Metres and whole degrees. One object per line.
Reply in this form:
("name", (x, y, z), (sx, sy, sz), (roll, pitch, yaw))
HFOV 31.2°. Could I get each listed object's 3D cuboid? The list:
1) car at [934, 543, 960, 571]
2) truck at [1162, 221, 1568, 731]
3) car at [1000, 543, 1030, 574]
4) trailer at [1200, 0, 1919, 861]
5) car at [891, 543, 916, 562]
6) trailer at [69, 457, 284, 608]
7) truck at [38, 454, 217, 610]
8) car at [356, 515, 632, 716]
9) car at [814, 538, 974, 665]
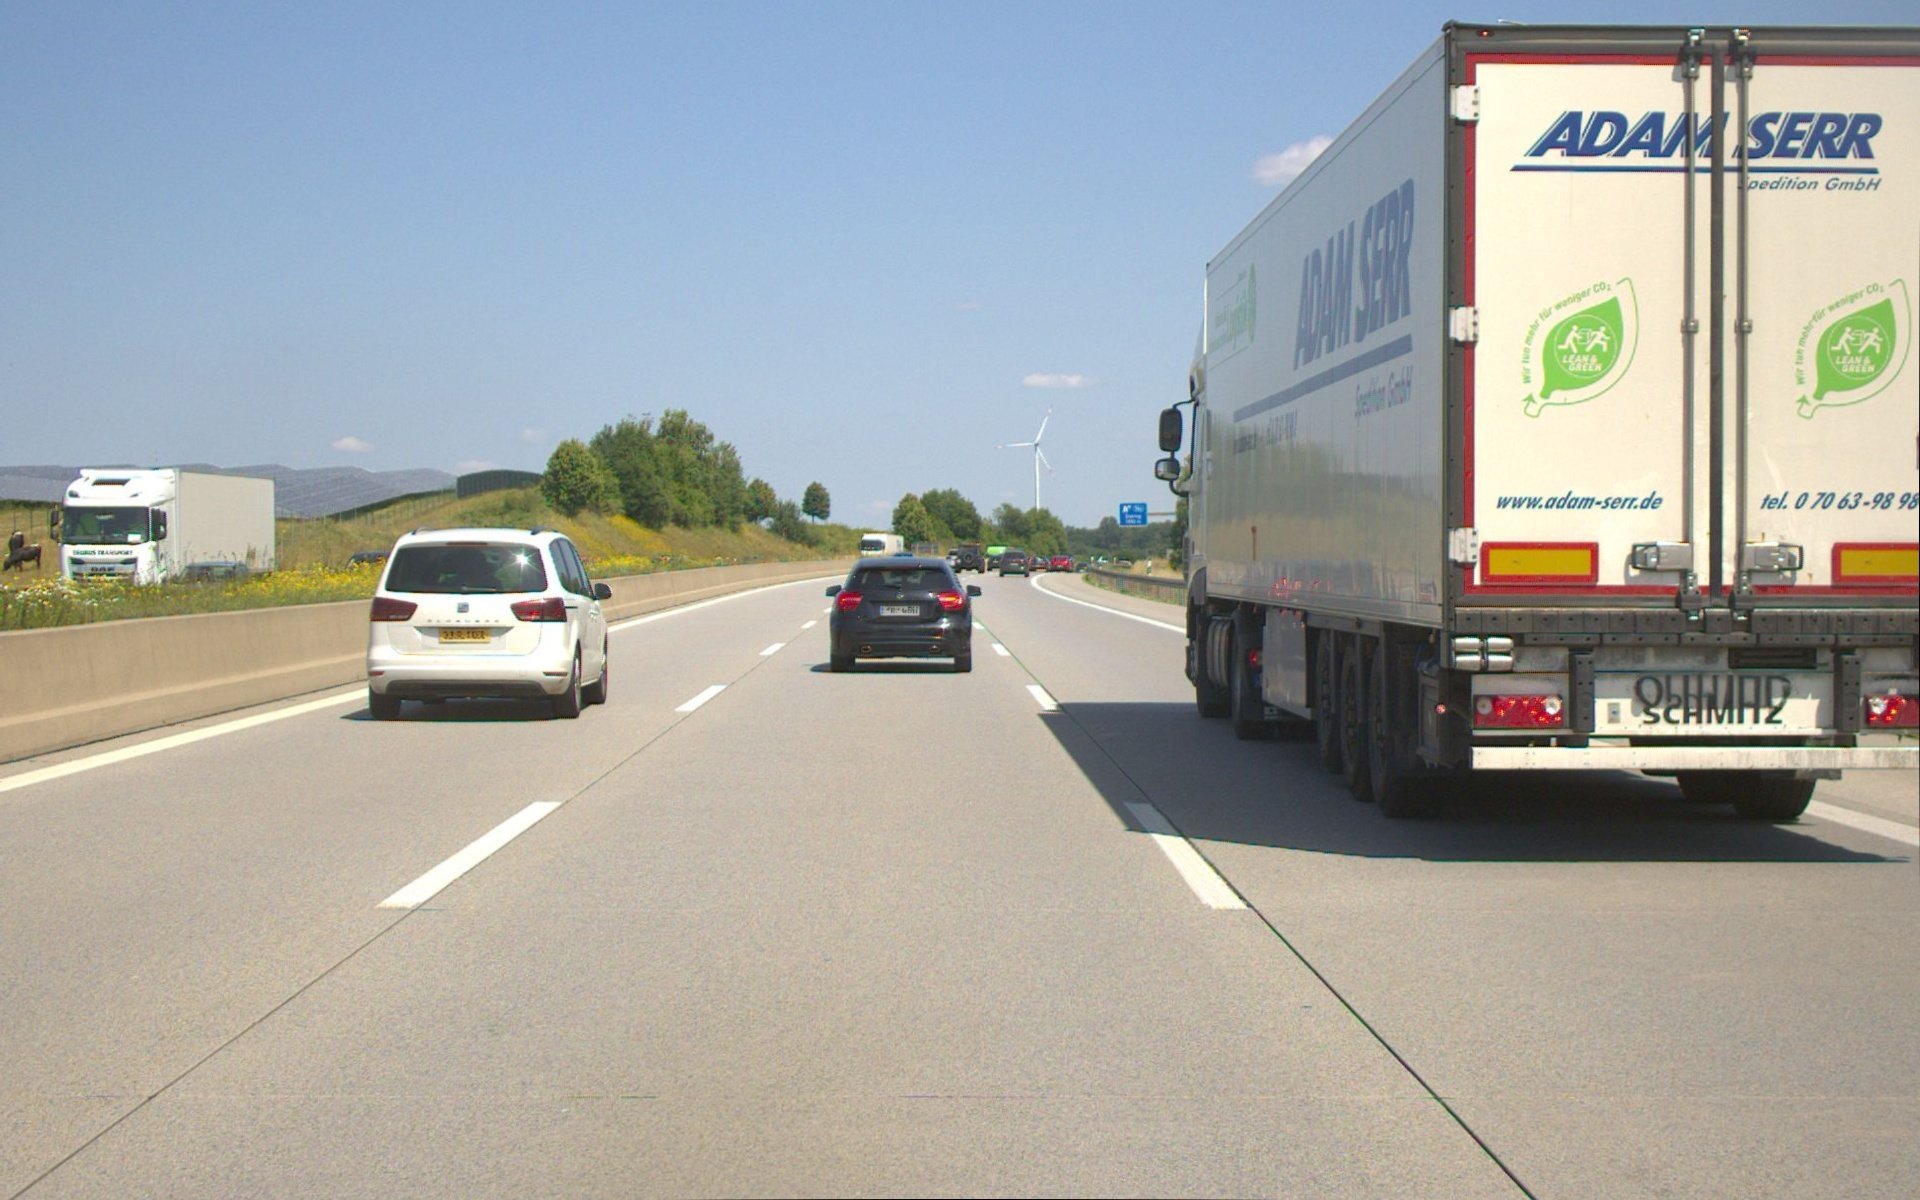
("car", (-0.913, -3.017, 239.668), (1.827, 1.931, 3.809), (0, 1, 0))
("truck", (3.436, -1.043, 30.644), (2.812, 4.074, 5.799), (1, 1, -1))
("car", (3.439, -2.618, 215.652), (1.827, 1.900, 4.000), (1, 1, 1))
("trailer", (3.513, -0.903, 22.436), (2.852, 4.029, 12.714), (1, 1, 0))
("car", (-3.883, -3.269, 236.058), (1.655, 1.192, 3.960), (3, 1, -1))
("trailer", (-22.388, -1.871, 99.220), (3.090, 3.991, 14.141), (1, 1, -1))
("truck", (-22.288, -1.796, 92.435), (3.090, 3.991, 7.255), (1, 0, -1))
("car", (-4.298, 0.108, 32.627), (1.845, 1.702, 6.036), (1, 1, -1))
("car", (-0.882, -0.021, 43.980), (1.910, 1.487, 4.192), (1, 1, -2))
